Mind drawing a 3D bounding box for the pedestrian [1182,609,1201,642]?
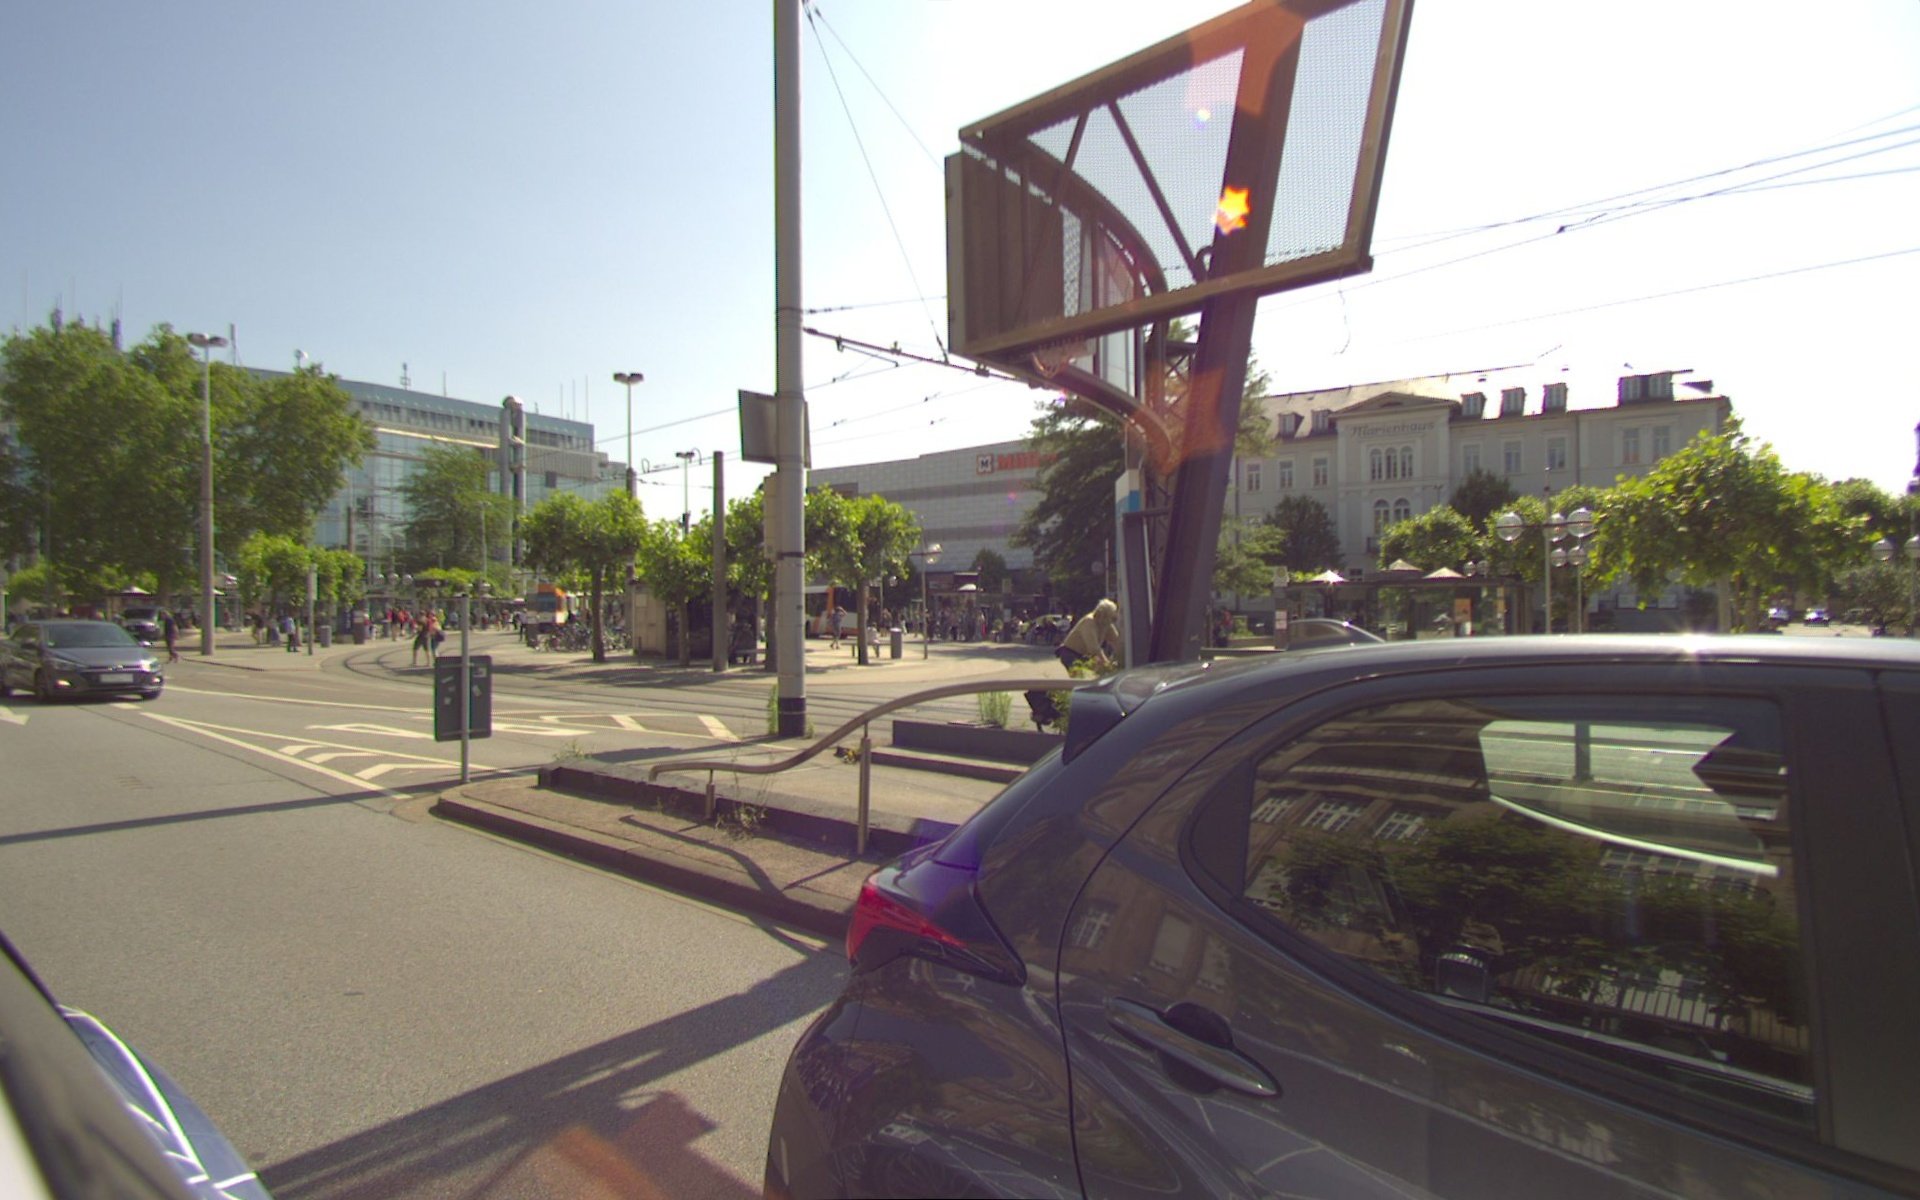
[{"bbox_3d":[9.878,1.080,43.114,0.616,1.396,0.735,0,-3,29],"label":"pedestrian"}]

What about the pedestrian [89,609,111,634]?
[{"bbox_3d":[-50.536,1.267,59.438,0.780,1.418,0.744,-1,1,31],"label":"pedestrian"}]

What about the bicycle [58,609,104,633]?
[{"bbox_3d":[-45.062,1.063,51.895,0.482,1.156,1.735,-1,0,38],"label":"bicycle"}]

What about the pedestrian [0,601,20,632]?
[{"bbox_3d":[-55.849,0.978,59.466,0.666,1.760,0.742,-1,1,39],"label":"pedestrian"}]

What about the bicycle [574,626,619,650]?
[{"bbox_3d":[-15.095,1.558,42.056,0.579,0.876,1.853,-1,1,27],"label":"bicycle"}]

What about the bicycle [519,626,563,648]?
[{"bbox_3d":[-18.262,1.597,44.120,0.544,0.862,1.853,-1,1,27],"label":"bicycle"}]

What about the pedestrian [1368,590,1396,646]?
[{"bbox_3d":[15.524,0.678,37.241,0.621,2.023,0.736,3,-3,-44],"label":"pedestrian"}]

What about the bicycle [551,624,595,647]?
[{"bbox_3d":[-16.361,1.496,42.831,0.544,0.862,1.853,-1,1,27],"label":"bicycle"}]

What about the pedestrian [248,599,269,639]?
[{"bbox_3d":[-35.238,0.938,50.839,0.563,2.023,0.686,0,0,31],"label":"pedestrian"}]

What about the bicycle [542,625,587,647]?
[{"bbox_3d":[-16.848,1.525,43.148,0.544,0.862,1.853,-1,1,27],"label":"bicycle"}]

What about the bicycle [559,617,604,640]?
[{"bbox_3d":[-15.901,1.175,42.534,0.544,0.862,1.853,-1,1,27],"label":"bicycle"}]

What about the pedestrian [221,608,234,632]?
[{"bbox_3d":[-53.481,1.421,73.871,0.629,1.706,0.754,-2,1,-27],"label":"pedestrian"}]

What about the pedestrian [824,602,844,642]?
[{"bbox_3d":[-5.232,0.924,41.954,0.549,1.620,0.600,-2,-4,43],"label":"pedestrian"}]

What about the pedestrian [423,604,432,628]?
[{"bbox_3d":[-36.253,1.083,68.898,0.467,1.561,0.493,2,-3,-25],"label":"pedestrian"}]

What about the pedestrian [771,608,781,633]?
[{"bbox_3d":[-10.793,1.209,59.423,0.407,1.477,0.451,0,-3,6],"label":"pedestrian"}]

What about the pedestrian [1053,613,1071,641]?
[{"bbox_3d":[4.760,1.268,47.276,0.572,1.273,0.624,3,-4,-35],"label":"pedestrian"}]

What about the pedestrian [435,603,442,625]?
[{"bbox_3d":[-37.086,1.011,71.948,0.379,1.561,0.413,2,-3,-25],"label":"pedestrian"}]

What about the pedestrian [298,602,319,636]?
[{"bbox_3d":[-34.975,1.022,54.364,0.671,1.808,0.625,1,-3,-1],"label":"pedestrian"}]

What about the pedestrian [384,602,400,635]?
[{"bbox_3d":[-31.624,1.052,56.366,0.605,1.830,0.570,-2,-4,40],"label":"pedestrian"}]

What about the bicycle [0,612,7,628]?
[{"bbox_3d":[-73.192,1.515,76.983,0.718,1.152,1.917,-2,1,-36],"label":"bicycle"}]

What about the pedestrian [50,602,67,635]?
[{"bbox_3d":[-49.309,0.995,55.330,0.516,1.755,0.511,-1,1,27],"label":"pedestrian"}]

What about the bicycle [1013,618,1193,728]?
[{"bbox_3d":[1.589,0.788,11.439,1.873,1.129,0.809,-1,-3,41],"label":"bicycle"}]

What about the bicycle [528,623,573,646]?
[{"bbox_3d":[-17.665,1.490,43.695,0.580,0.878,1.853,-1,1,27],"label":"bicycle"}]

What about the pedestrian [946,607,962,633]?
[{"bbox_3d":[-0.319,1.136,57.318,0.679,1.477,0.617,-1,-4,36],"label":"pedestrian"}]

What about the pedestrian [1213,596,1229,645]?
[{"bbox_3d":[10.963,0.872,42.453,0.627,2.023,0.542,0,-3,19],"label":"pedestrian"}]

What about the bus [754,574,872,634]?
[{"bbox_3d":[-9.781,0.205,65.420,3.014,3.445,12.498,-2,1,-30],"label":"bus"}]

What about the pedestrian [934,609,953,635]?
[{"bbox_3d":[-0.929,1.276,58.125,0.740,1.477,0.780,-1,-4,36],"label":"pedestrian"}]

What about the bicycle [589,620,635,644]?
[{"bbox_3d":[-14.028,1.271,40.793,0.579,0.876,1.853,-1,1,27],"label":"bicycle"}]

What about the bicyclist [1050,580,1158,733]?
[{"bbox_3d":[1.629,0.635,11.421,0.902,1.634,0.809,-2,-5,41],"label":"bicyclist"}]

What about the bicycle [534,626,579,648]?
[{"bbox_3d":[-17.285,1.571,43.396,0.544,0.862,1.853,-1,1,27],"label":"bicycle"}]

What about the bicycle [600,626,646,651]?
[{"bbox_3d":[-13.471,1.545,40.520,0.579,0.876,1.853,-1,1,27],"label":"bicycle"}]

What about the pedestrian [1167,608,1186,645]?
[{"bbox_3d":[9.366,1.145,43.791,0.616,1.611,0.735,-1,-3,29],"label":"pedestrian"}]

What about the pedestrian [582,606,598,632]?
[{"bbox_3d":[-23.448,1.218,64.114,0.675,1.610,0.621,0,-3,19],"label":"pedestrian"}]

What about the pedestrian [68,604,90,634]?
[{"bbox_3d":[-52.876,1.127,60.725,0.739,1.760,0.785,-2,1,-23],"label":"pedestrian"}]

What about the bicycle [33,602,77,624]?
[{"bbox_3d":[-49.577,0.718,55.454,0.482,1.156,1.735,-1,0,38],"label":"bicycle"}]

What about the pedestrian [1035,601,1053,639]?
[{"bbox_3d":[4.014,0.981,48.584,0.572,1.792,0.624,3,-4,-35],"label":"pedestrian"}]

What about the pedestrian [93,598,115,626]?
[{"bbox_3d":[-49.801,0.680,58.892,0.780,1.608,0.744,-1,1,31],"label":"pedestrian"}]

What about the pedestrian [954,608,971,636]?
[{"bbox_3d":[0.149,1.172,54.567,0.679,1.477,0.617,-1,-4,36],"label":"pedestrian"}]

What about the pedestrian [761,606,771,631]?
[{"bbox_3d":[-11.331,1.081,59.130,0.407,1.477,0.451,0,-3,6],"label":"pedestrian"}]

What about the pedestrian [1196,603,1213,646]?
[{"bbox_3d":[10.139,1.015,41.931,0.627,1.762,0.542,0,-3,19],"label":"pedestrian"}]

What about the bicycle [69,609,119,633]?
[{"bbox_3d":[-43.119,1.040,50.427,0.482,1.156,1.842,-1,0,38],"label":"bicycle"}]

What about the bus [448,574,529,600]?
[{"bbox_3d":[-55.563,-1.579,119.849,2.362,2.811,12.153,-1,1,8],"label":"bus"}]

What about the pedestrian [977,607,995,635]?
[{"bbox_3d":[1.397,1.146,54.289,0.679,1.477,0.617,-1,-4,36],"label":"pedestrian"}]

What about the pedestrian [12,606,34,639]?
[{"bbox_3d":[-49.258,1.157,53.218,0.639,1.704,0.637,-1,1,27],"label":"pedestrian"}]

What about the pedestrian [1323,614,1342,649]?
[{"bbox_3d":[14.907,1.274,40.500,0.598,1.401,0.562,-1,-3,40],"label":"pedestrian"}]
